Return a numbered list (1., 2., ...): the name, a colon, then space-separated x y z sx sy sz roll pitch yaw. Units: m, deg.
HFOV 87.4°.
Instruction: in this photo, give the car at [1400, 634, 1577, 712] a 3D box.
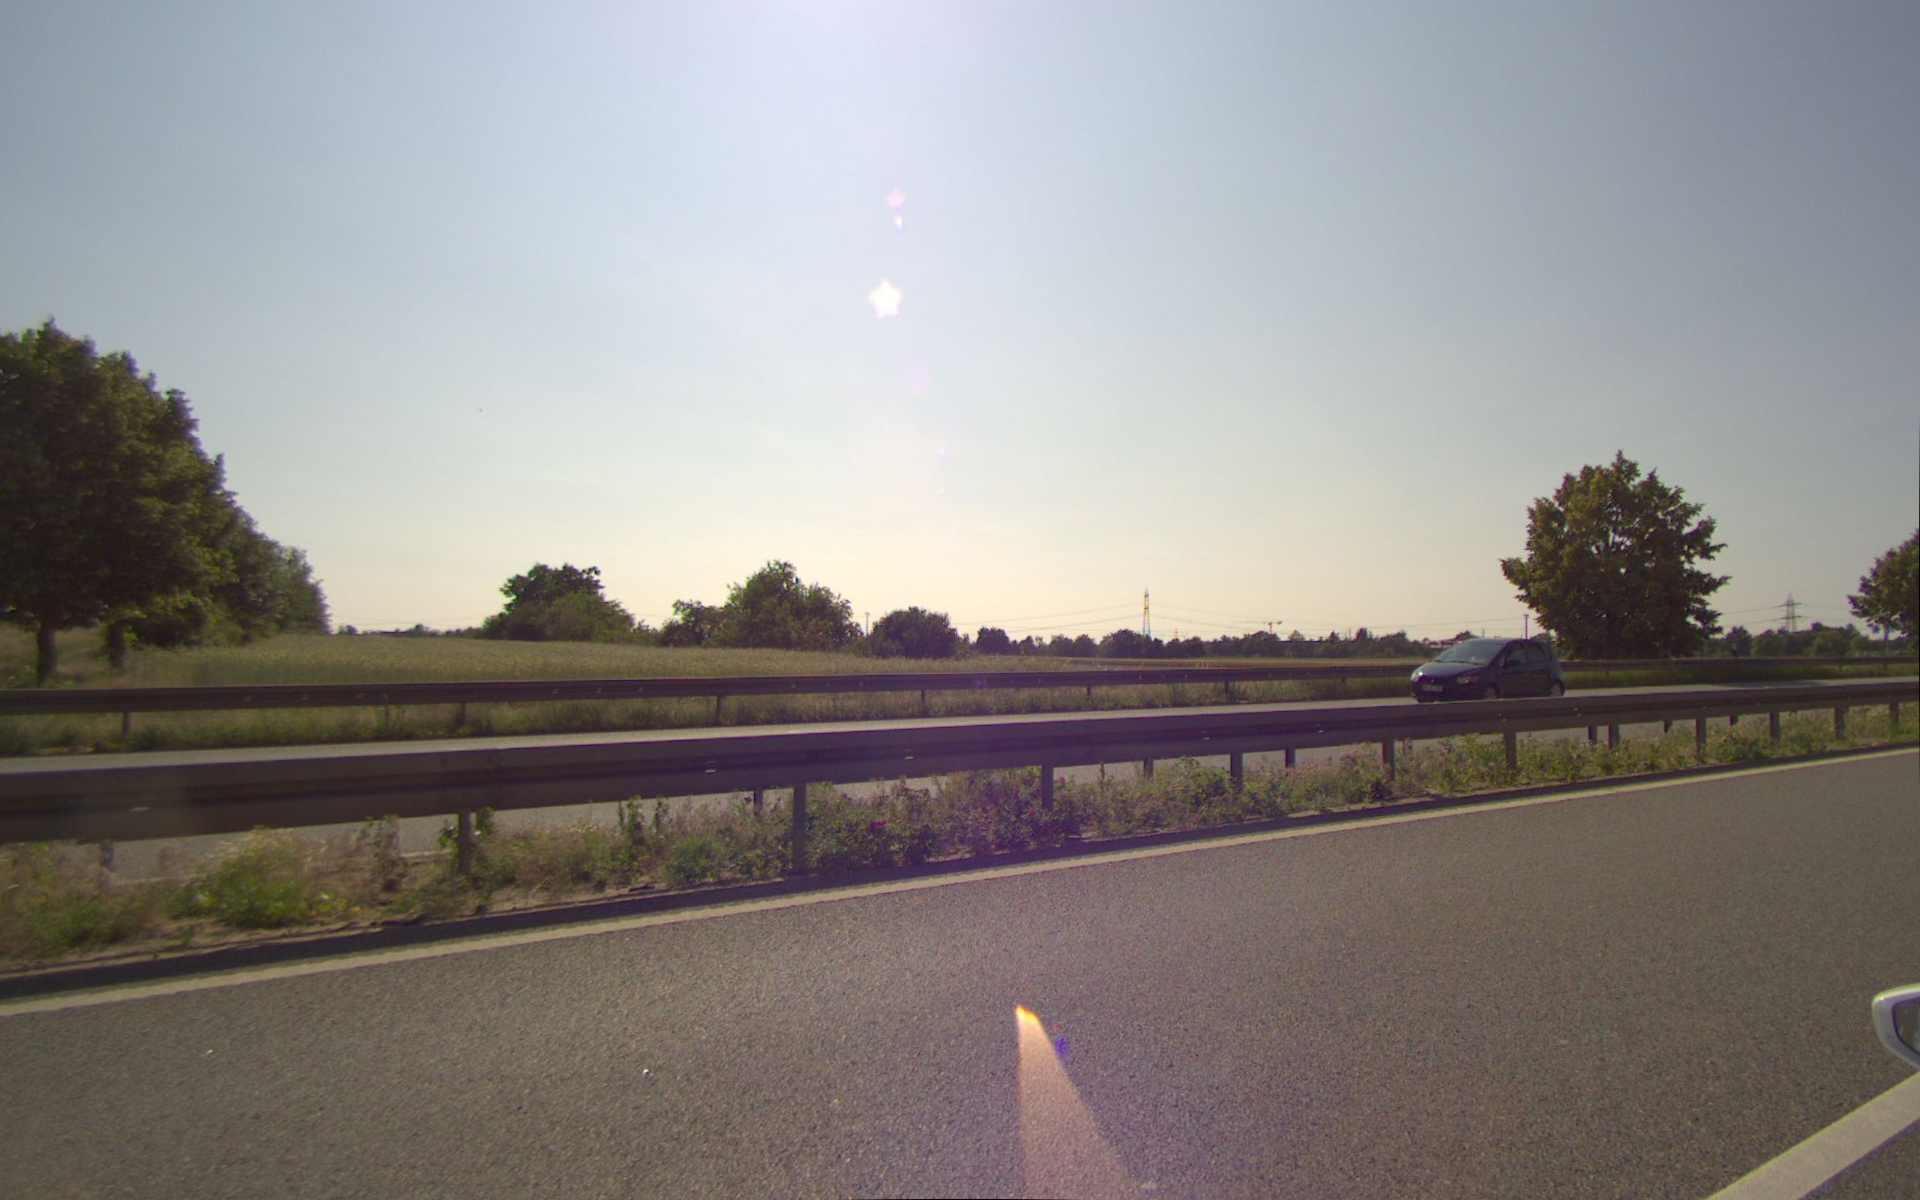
1. car: 11.939 1.584 22.659 3.954 1.554 1.745 2 0 -31
